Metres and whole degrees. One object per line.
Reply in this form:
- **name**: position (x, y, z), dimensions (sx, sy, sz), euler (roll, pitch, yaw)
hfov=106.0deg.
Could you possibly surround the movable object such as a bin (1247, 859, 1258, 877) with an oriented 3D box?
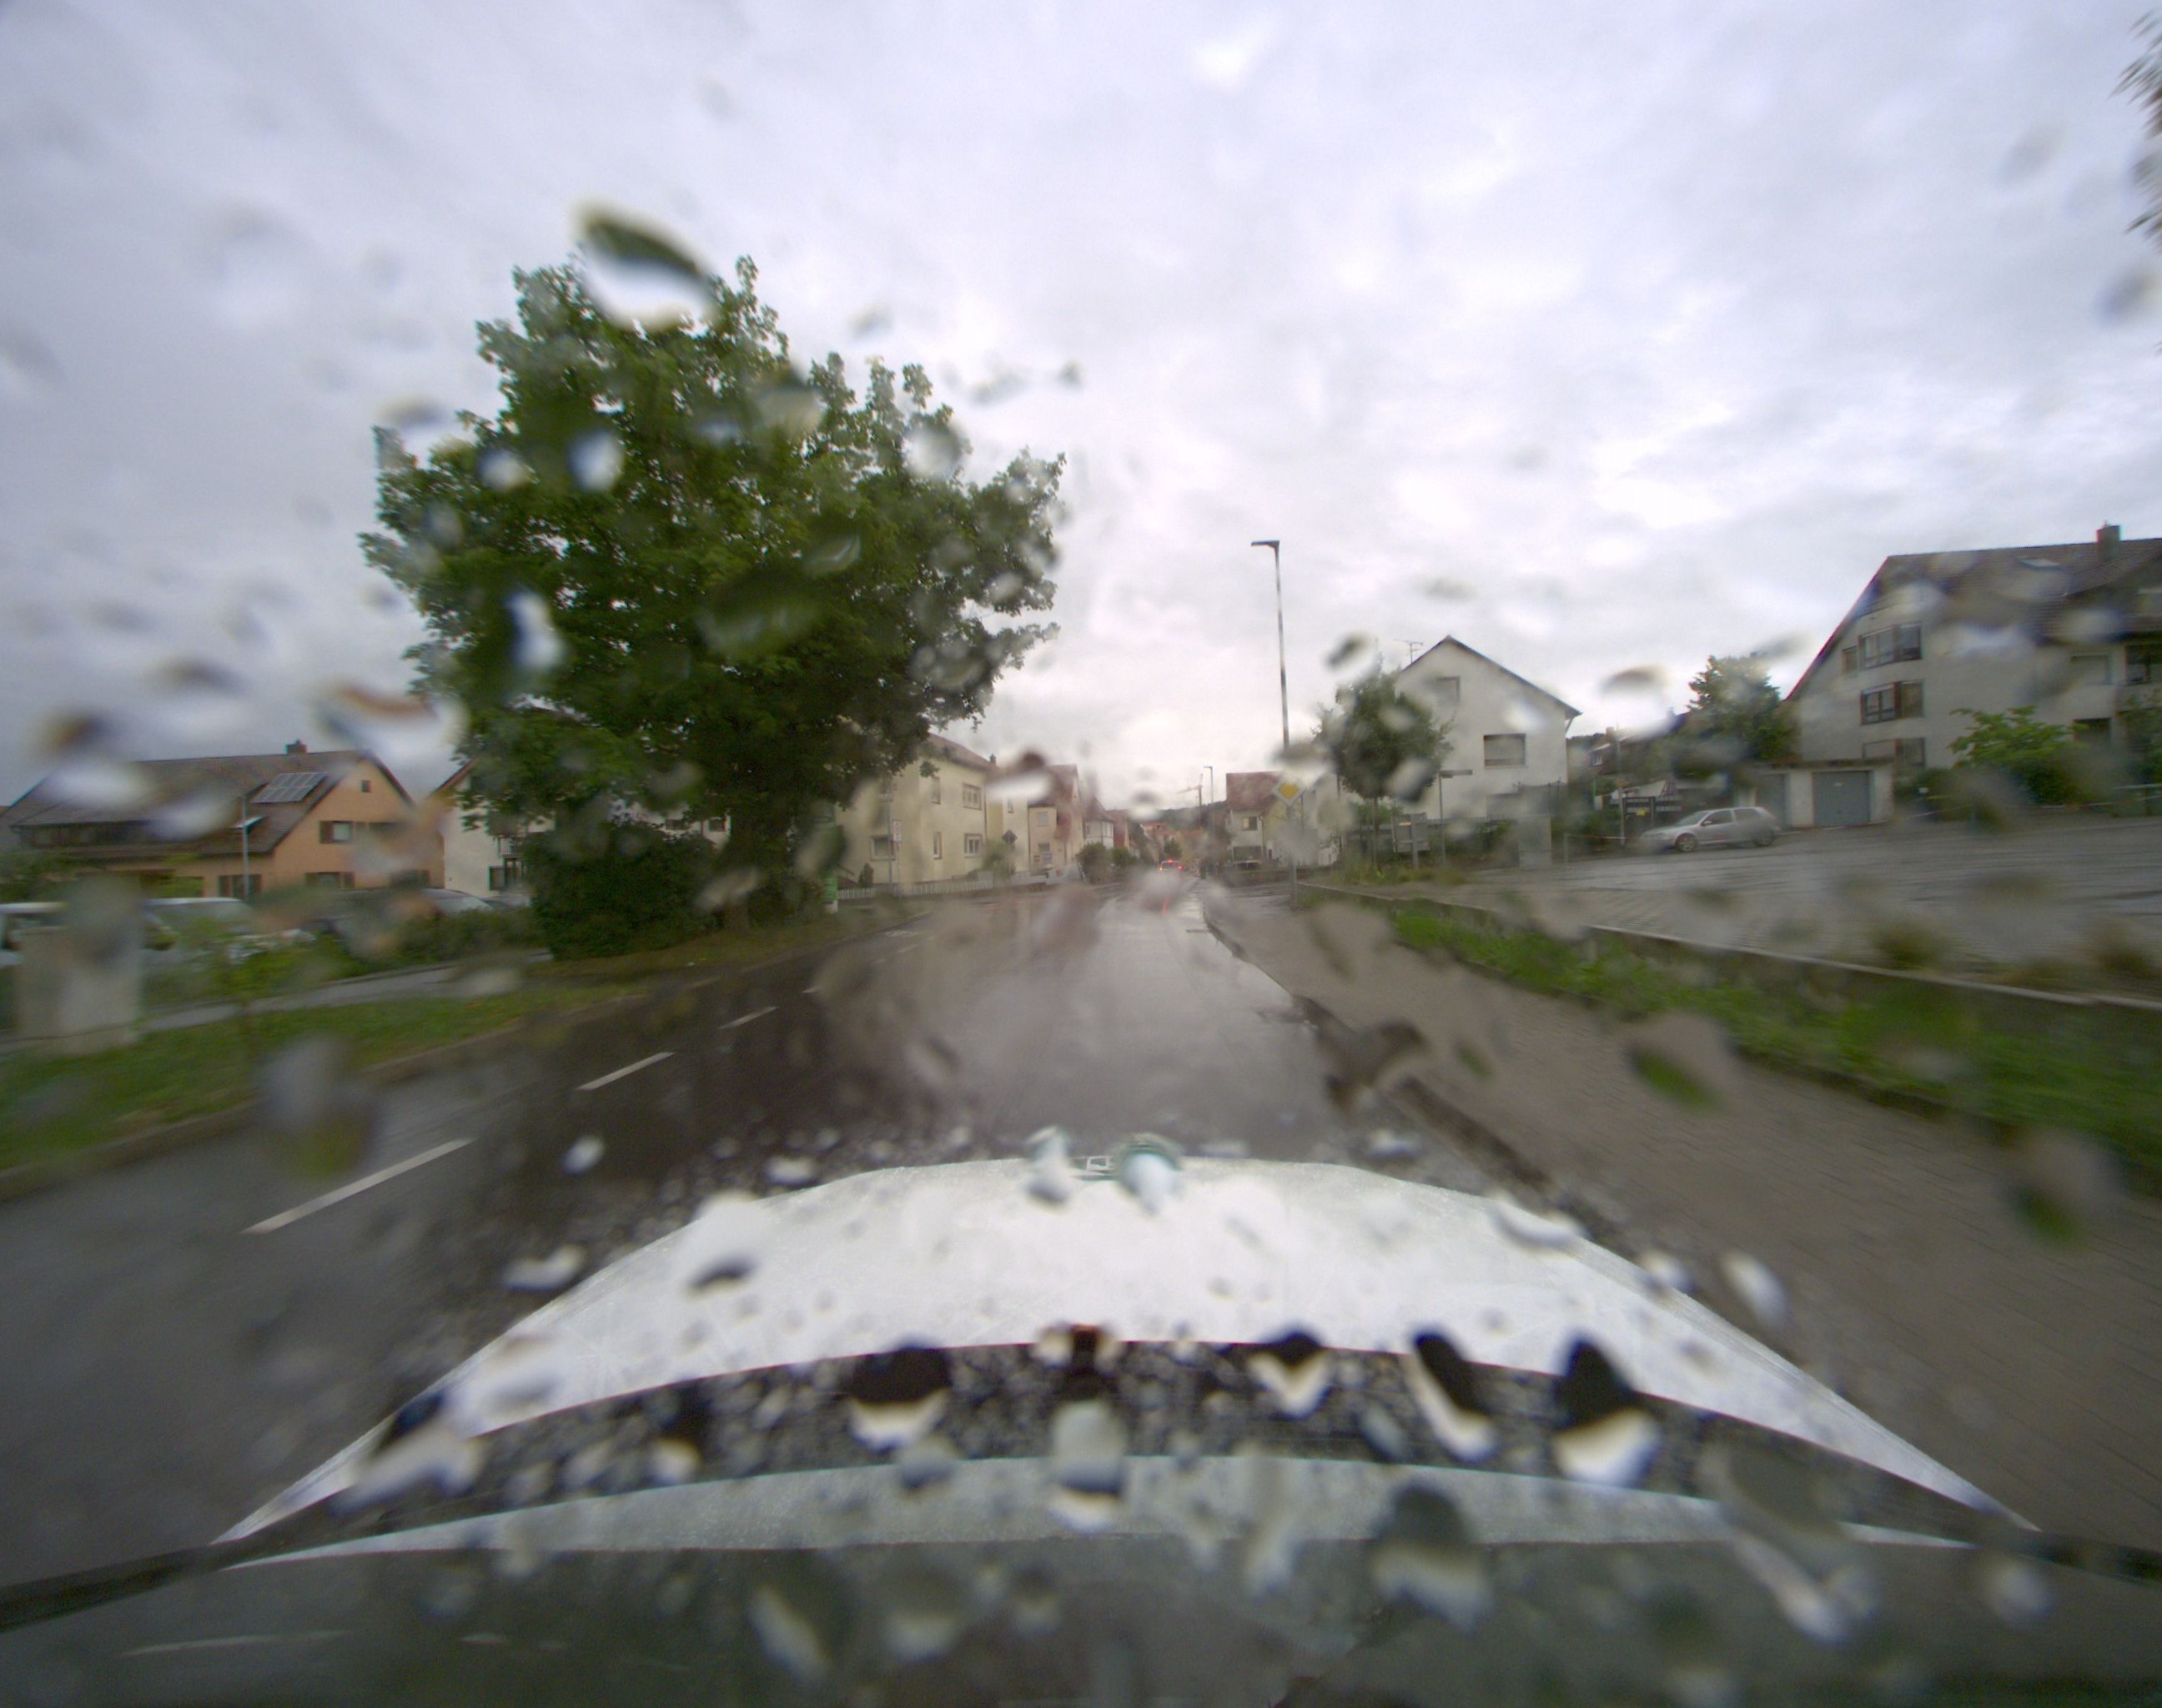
- **movable object such as a bin**: position (9.631, 0.785, 45.738), dimensions (0.525, 1.028, 0.633), euler (-1, 1, 6)

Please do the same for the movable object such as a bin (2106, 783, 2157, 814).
- **movable object such as a bin**: position (35.713, -1.879, 27.685), dimensions (0.654, 0.978, 0.834), euler (-1, 1, 4)

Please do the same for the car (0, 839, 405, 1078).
- **car**: position (-6.891, 0.736, 5.911), dimensions (2.898, 1.455, 1.253), euler (-3, -2, 1)

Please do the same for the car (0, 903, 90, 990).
- **car**: position (-26.344, 2.119, 18.741), dimensions (5.037, 1.769, 1.882), euler (-1, 1, 4)

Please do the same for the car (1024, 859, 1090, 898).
- **car**: position (-1.848, 1.904, 64.040), dimensions (4.531, 2.012, 2.165), euler (-14, 0, 7)

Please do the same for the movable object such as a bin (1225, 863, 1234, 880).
- **movable object such as a bin**: position (8.375, 0.998, 45.897), dimensions (0.422, 0.940, 0.509), euler (-1, 1, 6)

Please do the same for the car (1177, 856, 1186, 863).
- **car**: position (25.306, 1.390, 205.656), dimensions (1.829, 1.578, 4.306), euler (0, 2, 13)

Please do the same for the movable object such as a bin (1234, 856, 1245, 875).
- **movable object such as a bin**: position (9.060, 0.665, 46.523), dimensions (0.541, 1.028, 0.633), euler (-1, 1, 6)

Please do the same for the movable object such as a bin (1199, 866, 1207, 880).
- **movable object such as a bin**: position (12.159, 1.881, 81.447), dimensions (0.741, 1.279, 0.884), euler (-2, 1, 9)

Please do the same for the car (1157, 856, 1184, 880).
- **car**: position (7.763, 1.194, 70.150), dimensions (2.104, 1.888, 4.514), euler (0, 2, 9)

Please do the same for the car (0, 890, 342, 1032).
- **car**: position (-15.763, 1.728, 13.799), dimensions (4.383, 2.013, 2.153), euler (-1, 1, -1)

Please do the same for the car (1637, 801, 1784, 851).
- **car**: position (21.841, -0.953, 28.377), dimensions (3.749, 1.455, 1.611), euler (-3, 0, 5)

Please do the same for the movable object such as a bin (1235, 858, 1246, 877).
- **movable object such as a bin**: position (8.990, 0.742, 45.801), dimensions (0.541, 1.028, 0.633), euler (-1, 1, 6)

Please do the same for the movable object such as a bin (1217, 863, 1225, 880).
- **movable object such as a bin**: position (7.893, 0.996, 46.017), dimensions (0.422, 0.940, 0.509), euler (-1, 1, 6)
